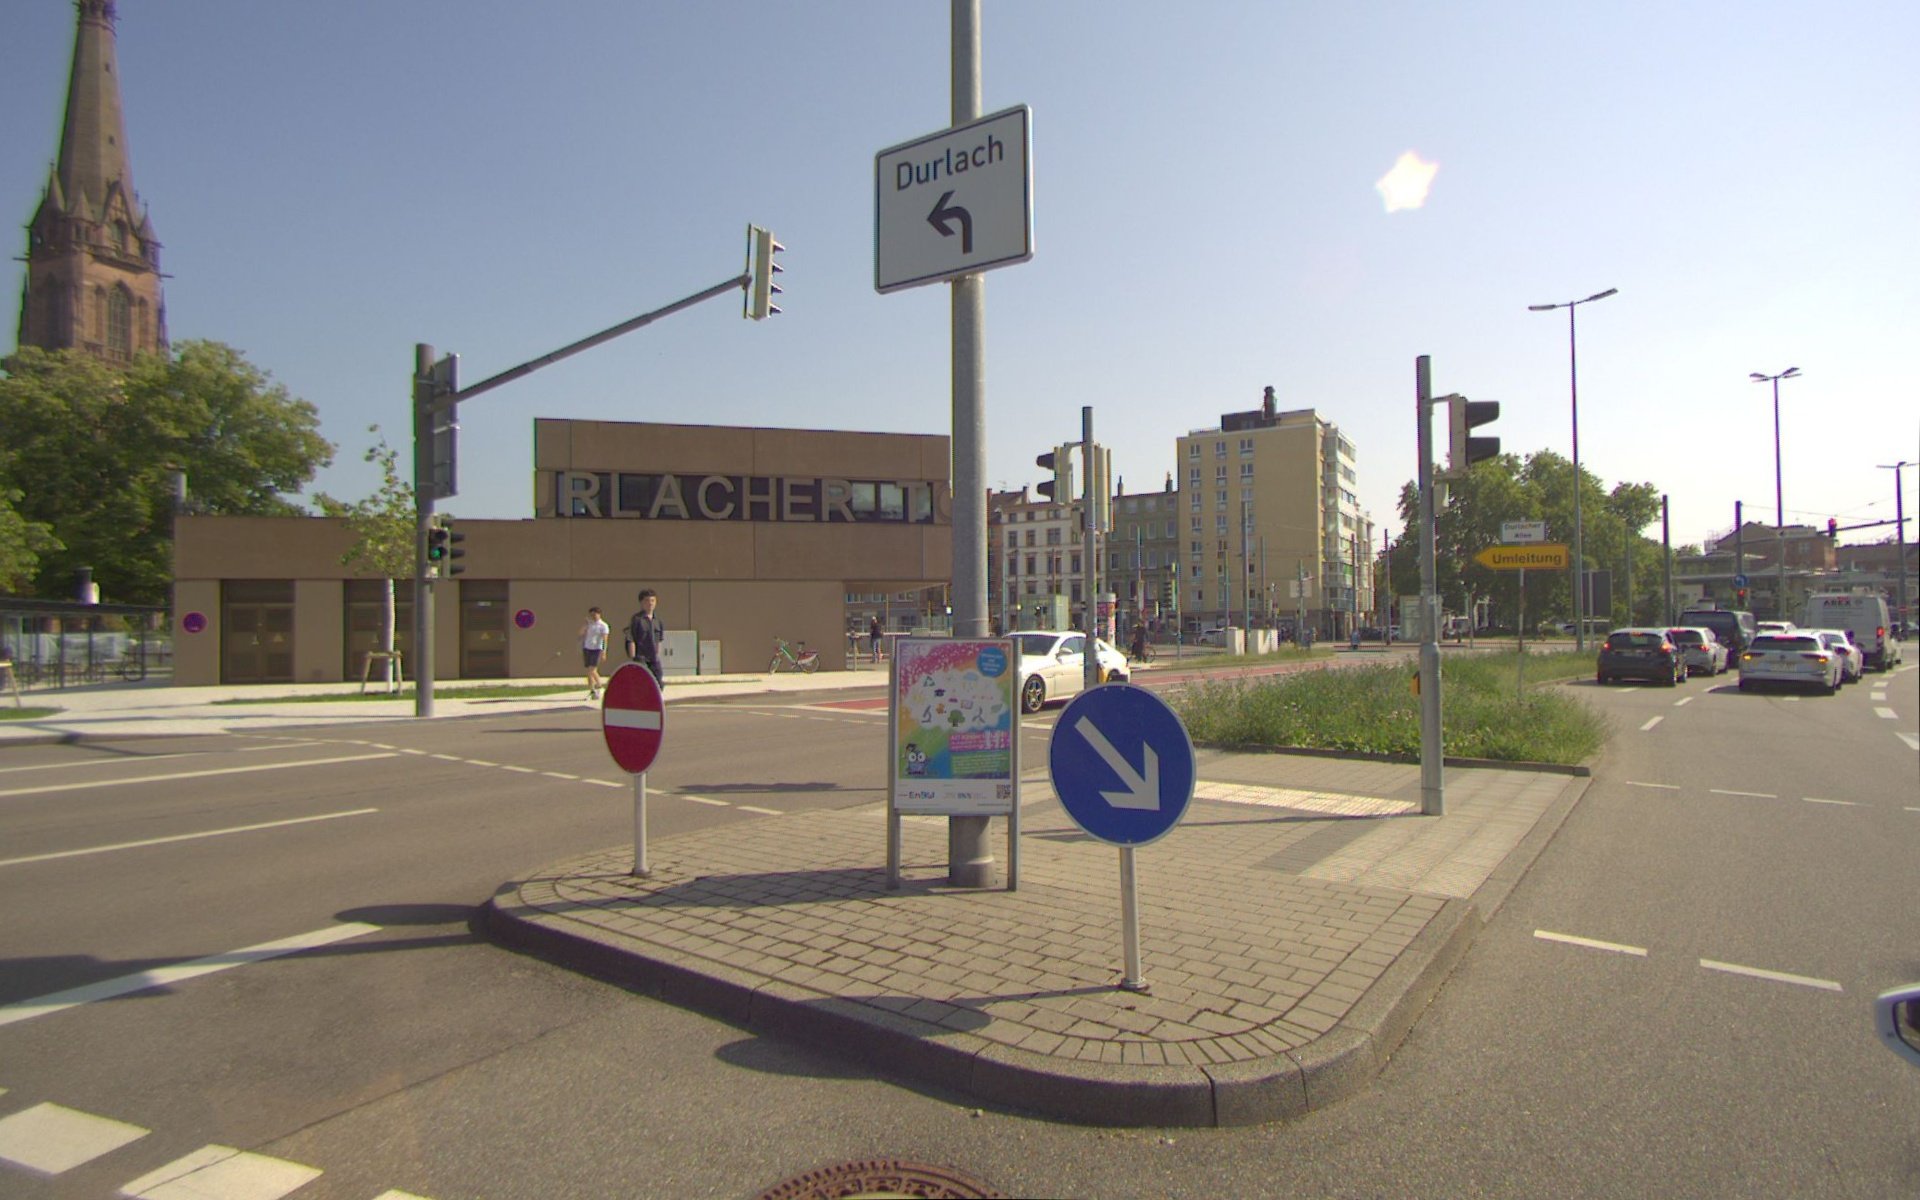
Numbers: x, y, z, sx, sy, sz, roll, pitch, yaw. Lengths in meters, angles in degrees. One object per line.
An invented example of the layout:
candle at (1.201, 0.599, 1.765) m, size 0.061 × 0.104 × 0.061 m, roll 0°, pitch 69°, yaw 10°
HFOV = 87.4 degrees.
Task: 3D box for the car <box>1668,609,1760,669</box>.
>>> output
car at (27.124, 1.375, 36.069) m, size 4.653 × 2.034 × 2.003 m, roll 2°, pitch -2°, yaw -45°

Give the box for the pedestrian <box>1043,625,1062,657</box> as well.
pedestrian at (5.419, 2.381, 58.682) m, size 0.821 × 1.843 × 0.777 m, roll 0°, pitch -3°, yaw 31°

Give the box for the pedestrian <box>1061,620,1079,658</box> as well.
pedestrian at (5.491, 1.940, 50.176) m, size 0.864 × 1.843 × 0.896 m, roll -2°, pitch 1°, yaw 5°

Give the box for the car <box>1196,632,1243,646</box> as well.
car at (23.074, 3.480, 89.236) m, size 3.778 × 1.195 × 1.571 m, roll -1°, pitch -4°, yaw 35°

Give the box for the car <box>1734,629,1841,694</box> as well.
car at (19.679, 1.411, 23.852) m, size 1.668 × 1.405 × 3.612 m, roll -1°, pitch -2°, yaw 44°

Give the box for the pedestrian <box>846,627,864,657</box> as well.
pedestrian at (-5.765, 2.291, 55.218) m, size 0.788 × 1.612 × 0.687 m, roll 0°, pitch -2°, yaw -29°

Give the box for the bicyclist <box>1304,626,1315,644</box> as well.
bicyclist at (28.668, 2.890, 82.358) m, size 0.715 × 1.453 × 0.689 m, roll -1°, pitch -2°, yaw 27°

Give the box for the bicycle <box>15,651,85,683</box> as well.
bicycle at (-29.935, 2.200, 33.047) m, size 1.716 × 1.022 × 0.400 m, roll 0°, pitch -1°, yaw -14°

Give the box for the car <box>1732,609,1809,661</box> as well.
car at (33.589, 1.418, 41.582) m, size 2.003 × 2.034 × 4.654 m, roll -1°, pitch -2°, yaw 45°

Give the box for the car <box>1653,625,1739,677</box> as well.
car at (22.445, 1.508, 30.590) m, size 3.622 × 1.434 × 1.475 m, roll 1°, pitch -1°, yaw -44°

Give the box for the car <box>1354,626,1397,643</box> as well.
car at (43.719, 3.624, 105.654) m, size 3.931 × 1.578 × 1.864 m, roll -1°, pitch 1°, yaw 32°

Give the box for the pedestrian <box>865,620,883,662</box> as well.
pedestrian at (-3.692, 1.752, 43.102) m, size 0.599 × 1.718 × 0.530 m, roll -2°, pitch 1°, yaw -25°

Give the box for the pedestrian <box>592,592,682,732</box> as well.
pedestrian at (-4.494, 0.837, 13.973) m, size 1.066 × 1.864 × 0.726 m, roll 0°, pitch -1°, yaw 40°

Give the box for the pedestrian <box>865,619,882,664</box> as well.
pedestrian at (-3.596, 1.721, 41.898) m, size 0.551 × 1.843 × 0.389 m, roll -2°, pitch 1°, yaw -33°

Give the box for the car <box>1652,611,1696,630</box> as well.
car at (82.803, 2.384, 116.450) m, size 3.943 × 2.040 × 1.989 m, roll -1°, pitch 1°, yaw 43°

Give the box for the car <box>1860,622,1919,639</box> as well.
car at (77.674, 2.515, 83.631) m, size 3.918 × 1.360 × 1.922 m, roll -2°, pitch -2°, yaw 39°

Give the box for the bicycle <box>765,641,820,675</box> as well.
bicycle at (-5.114, 1.760, 30.678) m, size 1.586 × 0.968 × 0.659 m, roll 0°, pitch 0°, yaw -16°

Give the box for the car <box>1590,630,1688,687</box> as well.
car at (17.909, 1.476, 26.429) m, size 1.682 × 1.386 × 3.944 m, roll -1°, pitch -2°, yaw 41°

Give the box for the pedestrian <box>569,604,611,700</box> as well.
pedestrian at (-7.372, 1.026, 19.994) m, size 0.566 × 1.857 × 0.686 m, roll 1°, pitch -2°, yaw -43°

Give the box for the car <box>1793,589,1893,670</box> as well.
car at (30.420, 1.028, 34.577) m, size 4.651 × 2.583 × 2.168 m, roll 2°, pitch -2°, yaw -44°

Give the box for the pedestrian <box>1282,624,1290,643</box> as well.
pedestrian at (27.253, 2.801, 84.001) m, size 0.489 × 1.507 × 0.440 m, roll -2°, pitch 1°, yaw -7°

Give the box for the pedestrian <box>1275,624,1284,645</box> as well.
pedestrian at (26.453, 2.824, 83.114) m, size 0.449 × 1.707 × 0.544 m, roll -1°, pitch 1°, yaw 43°

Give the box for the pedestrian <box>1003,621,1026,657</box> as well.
pedestrian at (3.153, 2.255, 57.933) m, size 0.944 × 2.041 × 1.019 m, roll -1°, pitch 1°, yaw 32°

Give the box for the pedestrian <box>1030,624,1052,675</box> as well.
pedestrian at (2.874, 1.756, 35.668) m, size 0.665 × 1.783 × 0.879 m, roll -1°, pitch -1°, yaw 11°

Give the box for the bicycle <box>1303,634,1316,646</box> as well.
bicycle at (28.660, 3.266, 82.339) m, size 0.716 × 0.997 × 1.730 m, roll -1°, pitch -2°, yaw 27°

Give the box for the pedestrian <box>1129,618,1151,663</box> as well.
pedestrian at (7.457, 1.675, 41.609) m, size 0.831 × 1.802 × 0.877 m, roll -1°, pitch 1°, yaw 11°

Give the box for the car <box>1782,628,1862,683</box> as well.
car at (24.328, 1.527, 28.316) m, size 1.474 × 1.421 × 3.918 m, roll -1°, pitch -2°, yaw 44°

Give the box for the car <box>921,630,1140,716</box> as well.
car at (1.470, 1.278, 18.738) m, size 1.818 × 1.379 × 4.802 m, roll -2°, pitch -3°, yaw 36°
